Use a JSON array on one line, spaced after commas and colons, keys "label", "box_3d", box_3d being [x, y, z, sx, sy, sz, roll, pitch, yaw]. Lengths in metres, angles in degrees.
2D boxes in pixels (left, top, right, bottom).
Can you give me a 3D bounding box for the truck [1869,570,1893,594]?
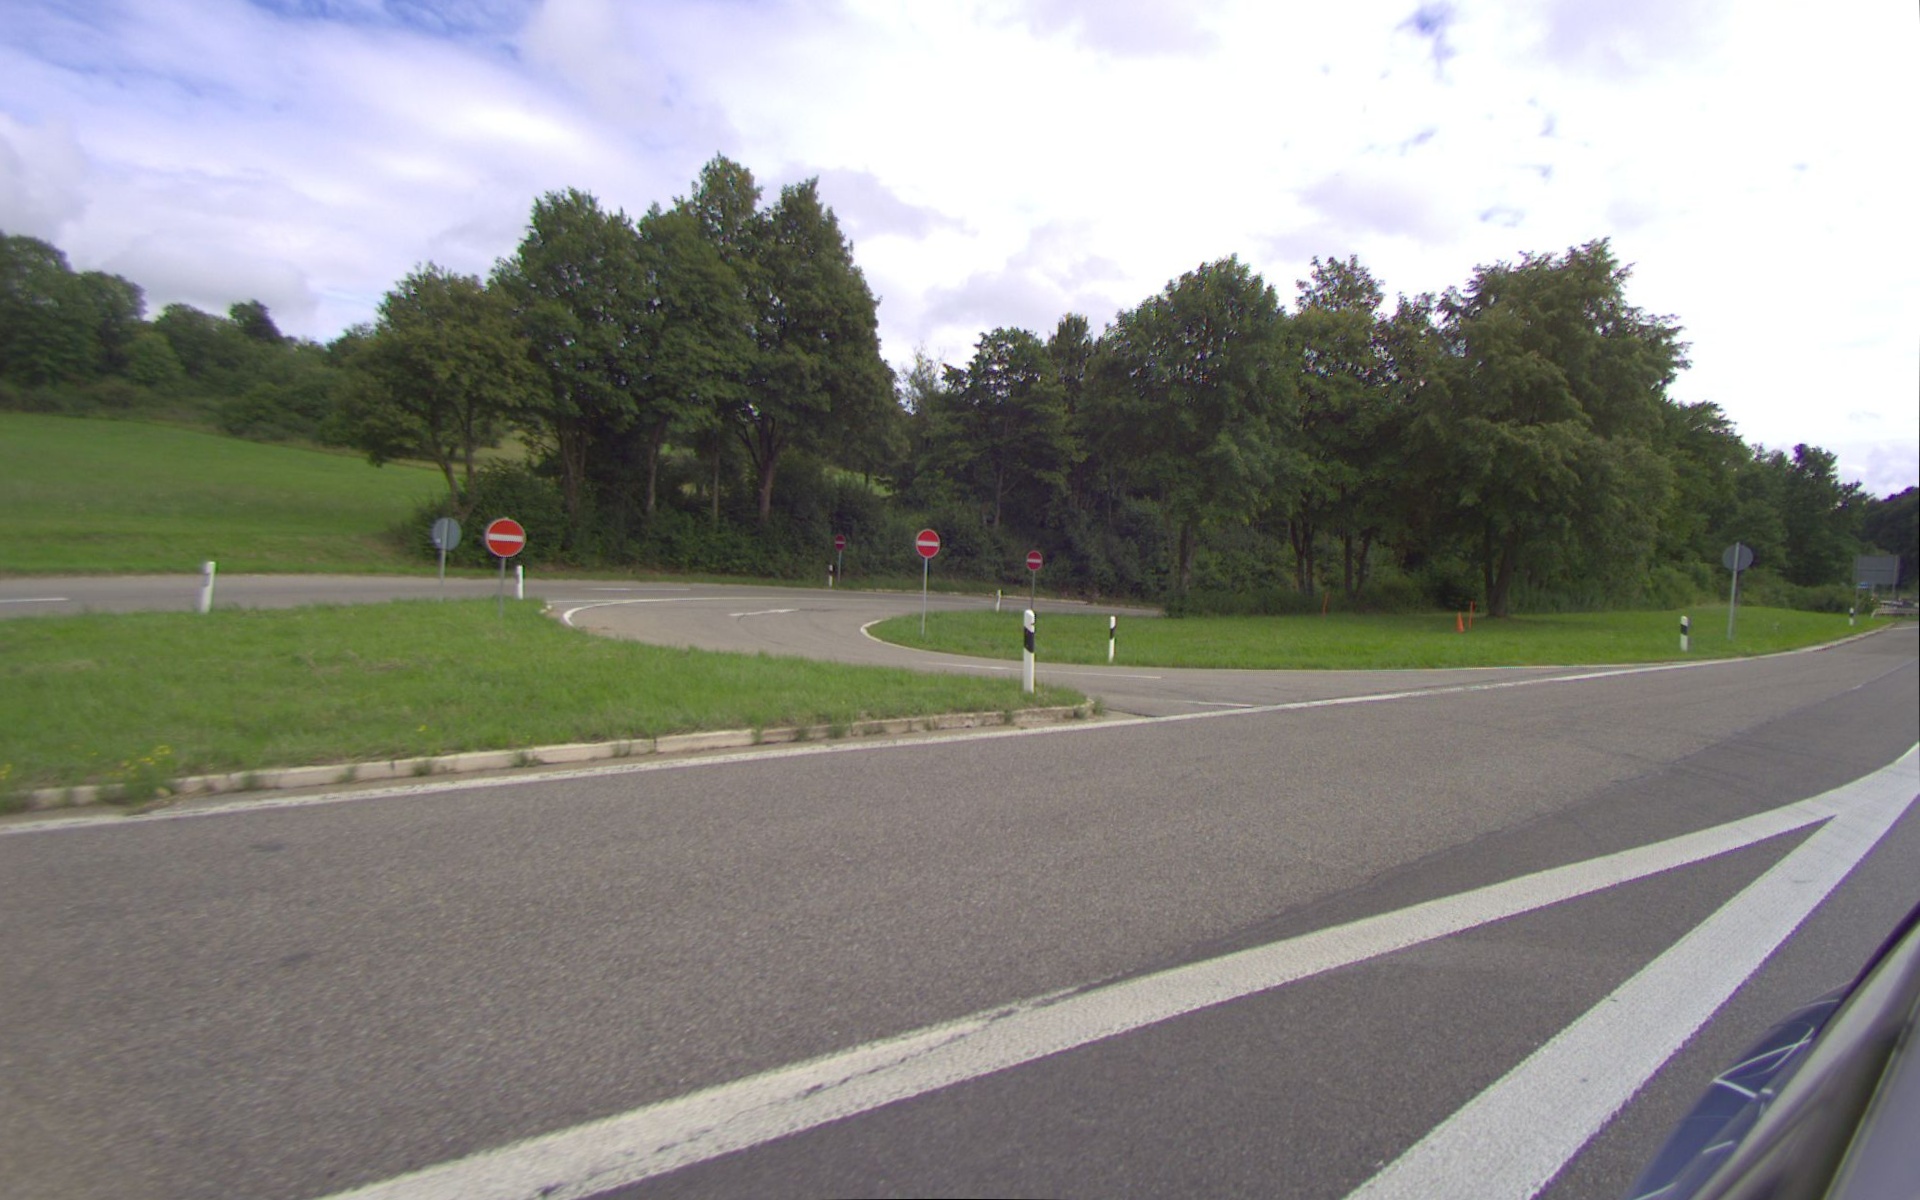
[{"label": "truck", "box_3d": [156.034, -3.023, 171.417, 2.789, 4.020, 5.846, 2, 2, 44]}]
